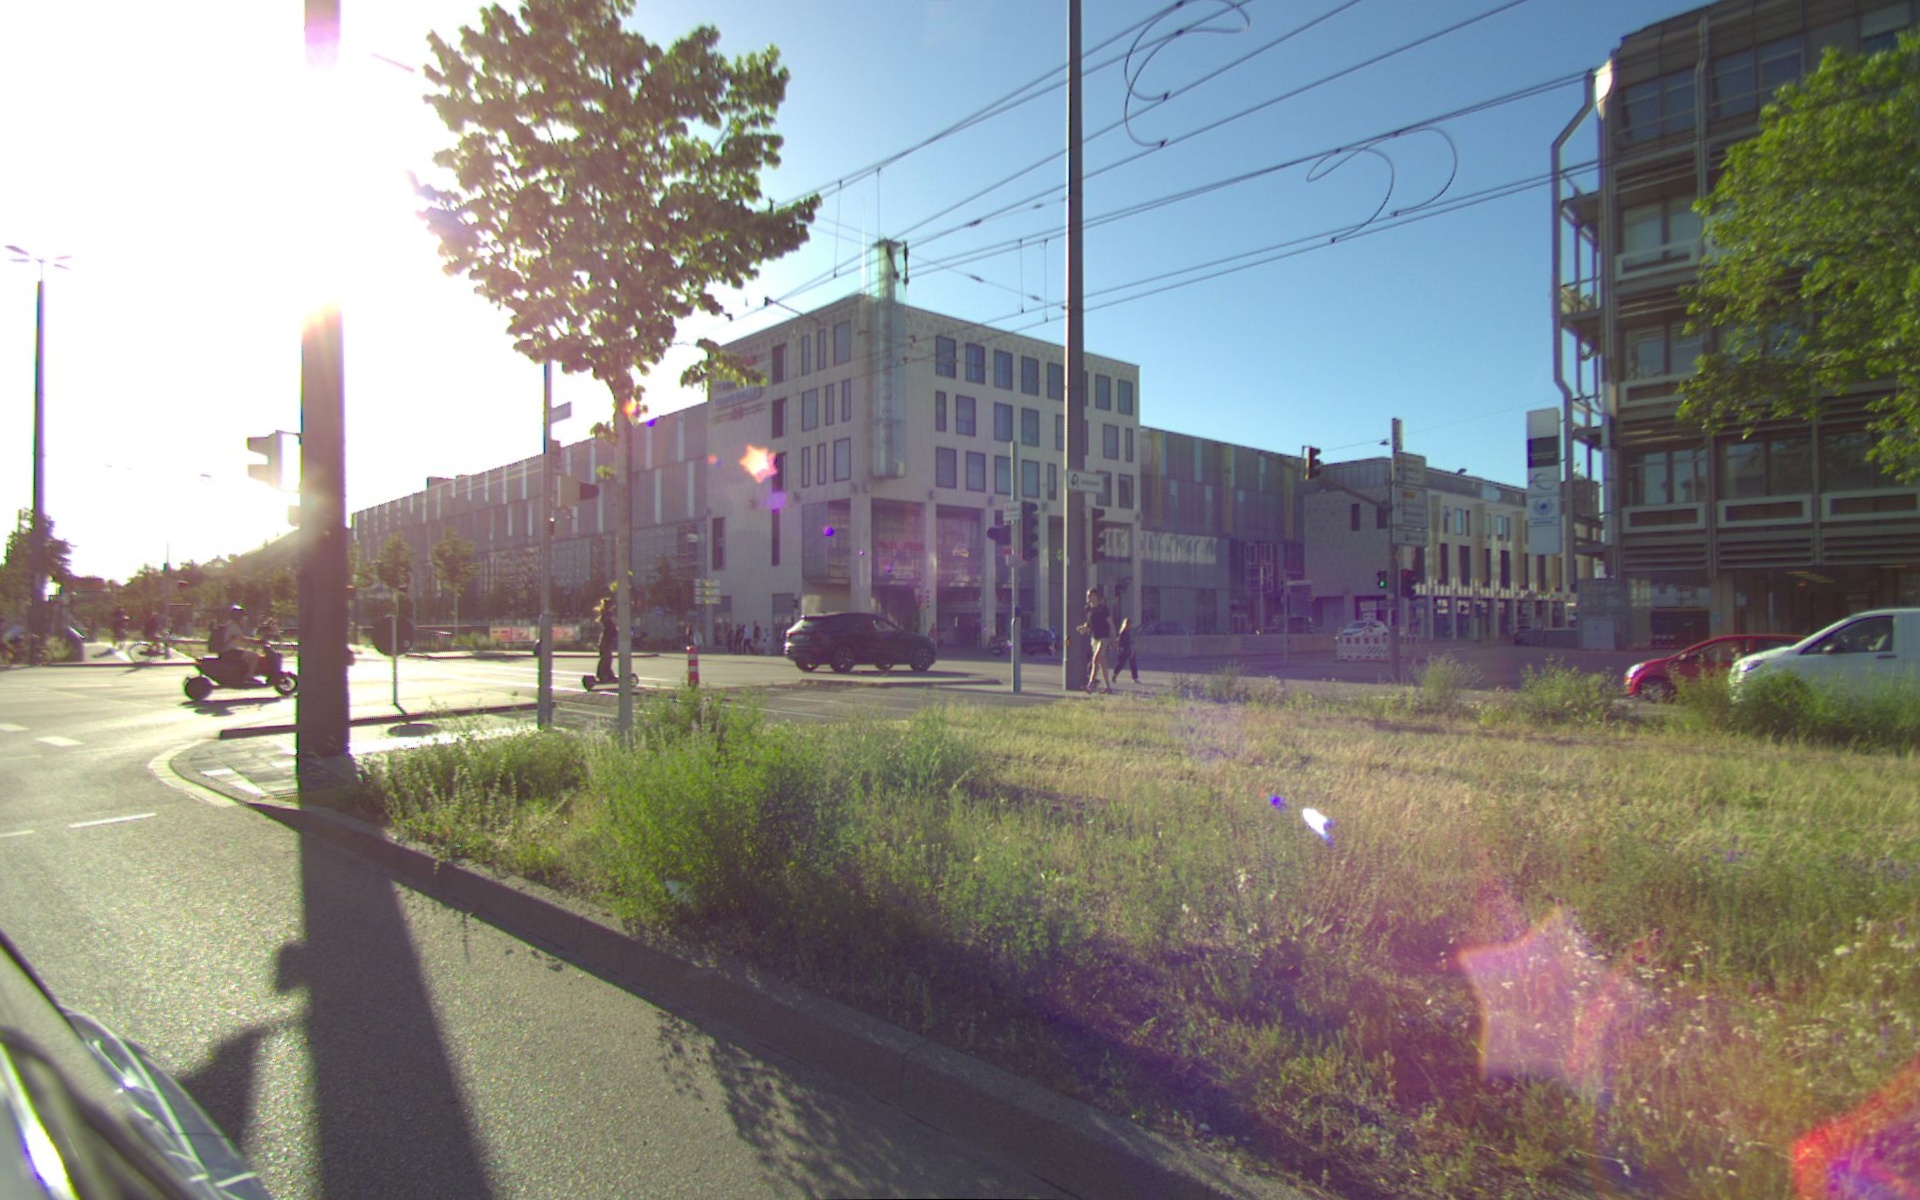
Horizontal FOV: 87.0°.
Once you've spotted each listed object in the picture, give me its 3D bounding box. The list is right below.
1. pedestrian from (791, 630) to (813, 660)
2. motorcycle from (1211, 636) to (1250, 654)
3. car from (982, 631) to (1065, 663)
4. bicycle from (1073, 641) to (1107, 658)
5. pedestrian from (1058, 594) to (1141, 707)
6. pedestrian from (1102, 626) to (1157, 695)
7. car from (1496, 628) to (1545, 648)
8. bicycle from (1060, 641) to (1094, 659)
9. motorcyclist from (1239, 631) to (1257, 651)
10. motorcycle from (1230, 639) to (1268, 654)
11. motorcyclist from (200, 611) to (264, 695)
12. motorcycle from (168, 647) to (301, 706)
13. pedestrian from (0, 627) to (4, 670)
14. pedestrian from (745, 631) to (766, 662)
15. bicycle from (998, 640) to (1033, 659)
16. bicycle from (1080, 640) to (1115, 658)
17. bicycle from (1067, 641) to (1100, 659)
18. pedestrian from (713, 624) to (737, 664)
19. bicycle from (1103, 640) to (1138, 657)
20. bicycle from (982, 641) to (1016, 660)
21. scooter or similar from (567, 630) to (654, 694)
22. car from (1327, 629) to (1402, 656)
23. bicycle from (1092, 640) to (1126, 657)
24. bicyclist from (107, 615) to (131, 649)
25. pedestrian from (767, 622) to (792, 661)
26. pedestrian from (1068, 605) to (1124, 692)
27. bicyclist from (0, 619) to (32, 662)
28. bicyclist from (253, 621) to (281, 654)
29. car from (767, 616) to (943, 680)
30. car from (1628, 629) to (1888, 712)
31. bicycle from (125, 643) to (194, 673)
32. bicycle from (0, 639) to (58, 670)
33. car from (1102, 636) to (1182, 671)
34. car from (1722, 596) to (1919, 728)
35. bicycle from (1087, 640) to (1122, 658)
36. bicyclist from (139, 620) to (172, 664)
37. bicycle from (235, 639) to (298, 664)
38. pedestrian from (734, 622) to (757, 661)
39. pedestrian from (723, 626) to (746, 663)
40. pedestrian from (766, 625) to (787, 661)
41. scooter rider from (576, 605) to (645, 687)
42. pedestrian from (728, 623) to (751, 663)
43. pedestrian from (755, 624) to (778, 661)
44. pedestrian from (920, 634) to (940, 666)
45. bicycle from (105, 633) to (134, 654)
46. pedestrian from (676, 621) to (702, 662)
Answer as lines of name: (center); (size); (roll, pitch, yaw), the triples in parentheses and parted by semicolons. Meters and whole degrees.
pedestrian: (-8.710, 2.465, 55.742); (0.995, 1.663, 0.947); (0, -2, 5)
motorcycle: (20.188, 3.373, 75.624); (2.678, 1.227, 0.903); (0, -1, 45)
car: (3.376, 2.462, 53.492); (4.227, 1.593, 1.947); (1, -2, -41)
bicycle: (8.479, 3.227, 66.117); (0.673, 1.119, 2.481); (1, -2, -38)
pedestrian: (2.463, 0.869, 17.943); (1.034, 1.925, 1.016); (1, -2, -41)
pedestrian: (4.007, 1.409, 23.917); (0.898, 1.561, 0.911); (-2, -1, 39)
car: (41.509, 2.833, 74.894); (4.197, 1.461, 1.945); (2, -3, -43)
bicycle: (7.553, 3.204, 65.344); (0.584, 1.119, 2.481); (1, -2, -38)
motorcyclist: (21.951, 3.125, 77.120); (1.040, 1.482, 0.903); (0, -1, 44)
motorcycle: (22.013, 3.527, 77.064); (2.678, 1.003, 0.903); (0, -1, 45)
motorcyclist: (-13.318, 0.947, 18.516); (0.868, 1.495, 0.758); (1, -1, -40)
motorcycle: (-13.269, 1.378, 18.540); (1.929, 0.976, 0.758); (1, -1, -41)
pedestrian: (-34.936, 1.759, 36.627); (0.444, 1.578, 0.521); (1, -2, -39)
pedestrian: (-10.632, 2.385, 52.543); (0.932, 1.583, 0.841); (0, -2, -1)
bicycle: (3.357, 3.026, 61.891); (0.673, 1.119, 2.481); (1, -2, -38)
bicycle: (9.061, 3.237, 66.786); (0.673, 1.119, 2.481); (1, -2, -38)
bicycle: (7.998, 3.214, 65.704); (0.529, 1.119, 2.481); (1, -2, -38)
pedestrian: (-12.817, 2.398, 55.186); (0.890, 2.140, 0.942); (-1, -2, 16)
bicycle: (10.934, 3.294, 69.049); (0.821, 1.119, 2.481); (1, -2, -38)
bicycle: (2.350, 3.020, 61.029); (0.647, 1.121, 2.415); (1, -2, -39)
scooter or similar: (-6.825, 1.192, 19.782); (1.461, 1.184, 0.645); (1, -1, -42)
car: (26.773, 2.793, 66.885); (5.526, 1.705, 2.185); (2, -3, -40)
bicycle: (10.042, 3.271, 68.192); (0.673, 1.119, 2.481); (1, -2, -38)
bicyclist: (-38.015, 1.431, 45.765); (0.618, 1.517, 0.745); (-2, -2, 43)
pedestrian: (-9.987, 2.278, 56.047); (1.052, 2.145, 1.094); (0, -2, 11)
pedestrian: (2.834, 1.000, 21.110); (0.858, 1.757, 0.729); (-2, -2, 43)
bicyclist: (-31.854, 1.366, 34.096); (0.806, 1.412, 0.831); (-2, -1, 44)
bicyclist: (-28.761, 1.546, 41.989); (0.806, 1.367, 0.829); (-2, -1, 43)
car: (-2.934, 1.327, 29.069); (4.721, 1.675, 2.202); (1, -2, -45)
car: (15.976, 1.403, 20.387); (1.818, 1.497, 3.883); (5, -6, -44)
bicycle: (-29.194, 2.101, 36.942); (1.946, 1.004, 0.650); (0, -2, -37)
bicycle: (-31.815, 1.846, 34.120); (0.806, 0.986, 2.047); (-2, -1, 44)
car: (9.381, 2.725, 52.091); (4.229, 1.690, 1.945); (2, -3, -44)
car: (15.874, 1.000, 16.089); (2.232, 2.029, 5.713); (4, -4, -44)
bicycle: (9.605, 3.253, 67.362); (0.821, 1.119, 2.481); (1, -2, -38)
bicyclist: (-29.315, 1.518, 36.880); (0.926, 1.556, 0.650); (0, -2, -37)
bicycle: (-28.747, 2.129, 41.979); (0.805, 0.934, 2.047); (-2, -1, 43)
pedestrian: (-12.066, 2.332, 56.998); (0.895, 2.140, 0.937); (-1, -2, 31)
pedestrian: (-12.972, 2.552, 58.293); (0.898, 2.140, 0.934); (-2, -2, 41)
pedestrian: (-10.431, 2.433, 57.573); (0.908, 2.029, 1.020); (-1, -2, 12)
scooter rider: (-6.829, 0.879, 19.790); (1.100, 1.556, 0.645); (1, -1, -42)
pedestrian: (-11.851, 2.307, 54.485); (0.889, 2.140, 0.943); (-1, -2, 13)
pedestrian: (-11.209, 2.435, 58.586); (0.896, 2.140, 0.936); (-1, -2, 35)
pedestrian: (-1.653, 2.757, 55.637); (0.745, 1.753, 0.754); (1, -2, -41)
bicycle: (-38.025, 1.953, 45.763); (2.395, 0.948, 0.745); (-2, -2, 44)
pedestrian: (-14.258, 2.168, 53.236); (0.894, 2.140, 0.938); (-1, -2, 28)
